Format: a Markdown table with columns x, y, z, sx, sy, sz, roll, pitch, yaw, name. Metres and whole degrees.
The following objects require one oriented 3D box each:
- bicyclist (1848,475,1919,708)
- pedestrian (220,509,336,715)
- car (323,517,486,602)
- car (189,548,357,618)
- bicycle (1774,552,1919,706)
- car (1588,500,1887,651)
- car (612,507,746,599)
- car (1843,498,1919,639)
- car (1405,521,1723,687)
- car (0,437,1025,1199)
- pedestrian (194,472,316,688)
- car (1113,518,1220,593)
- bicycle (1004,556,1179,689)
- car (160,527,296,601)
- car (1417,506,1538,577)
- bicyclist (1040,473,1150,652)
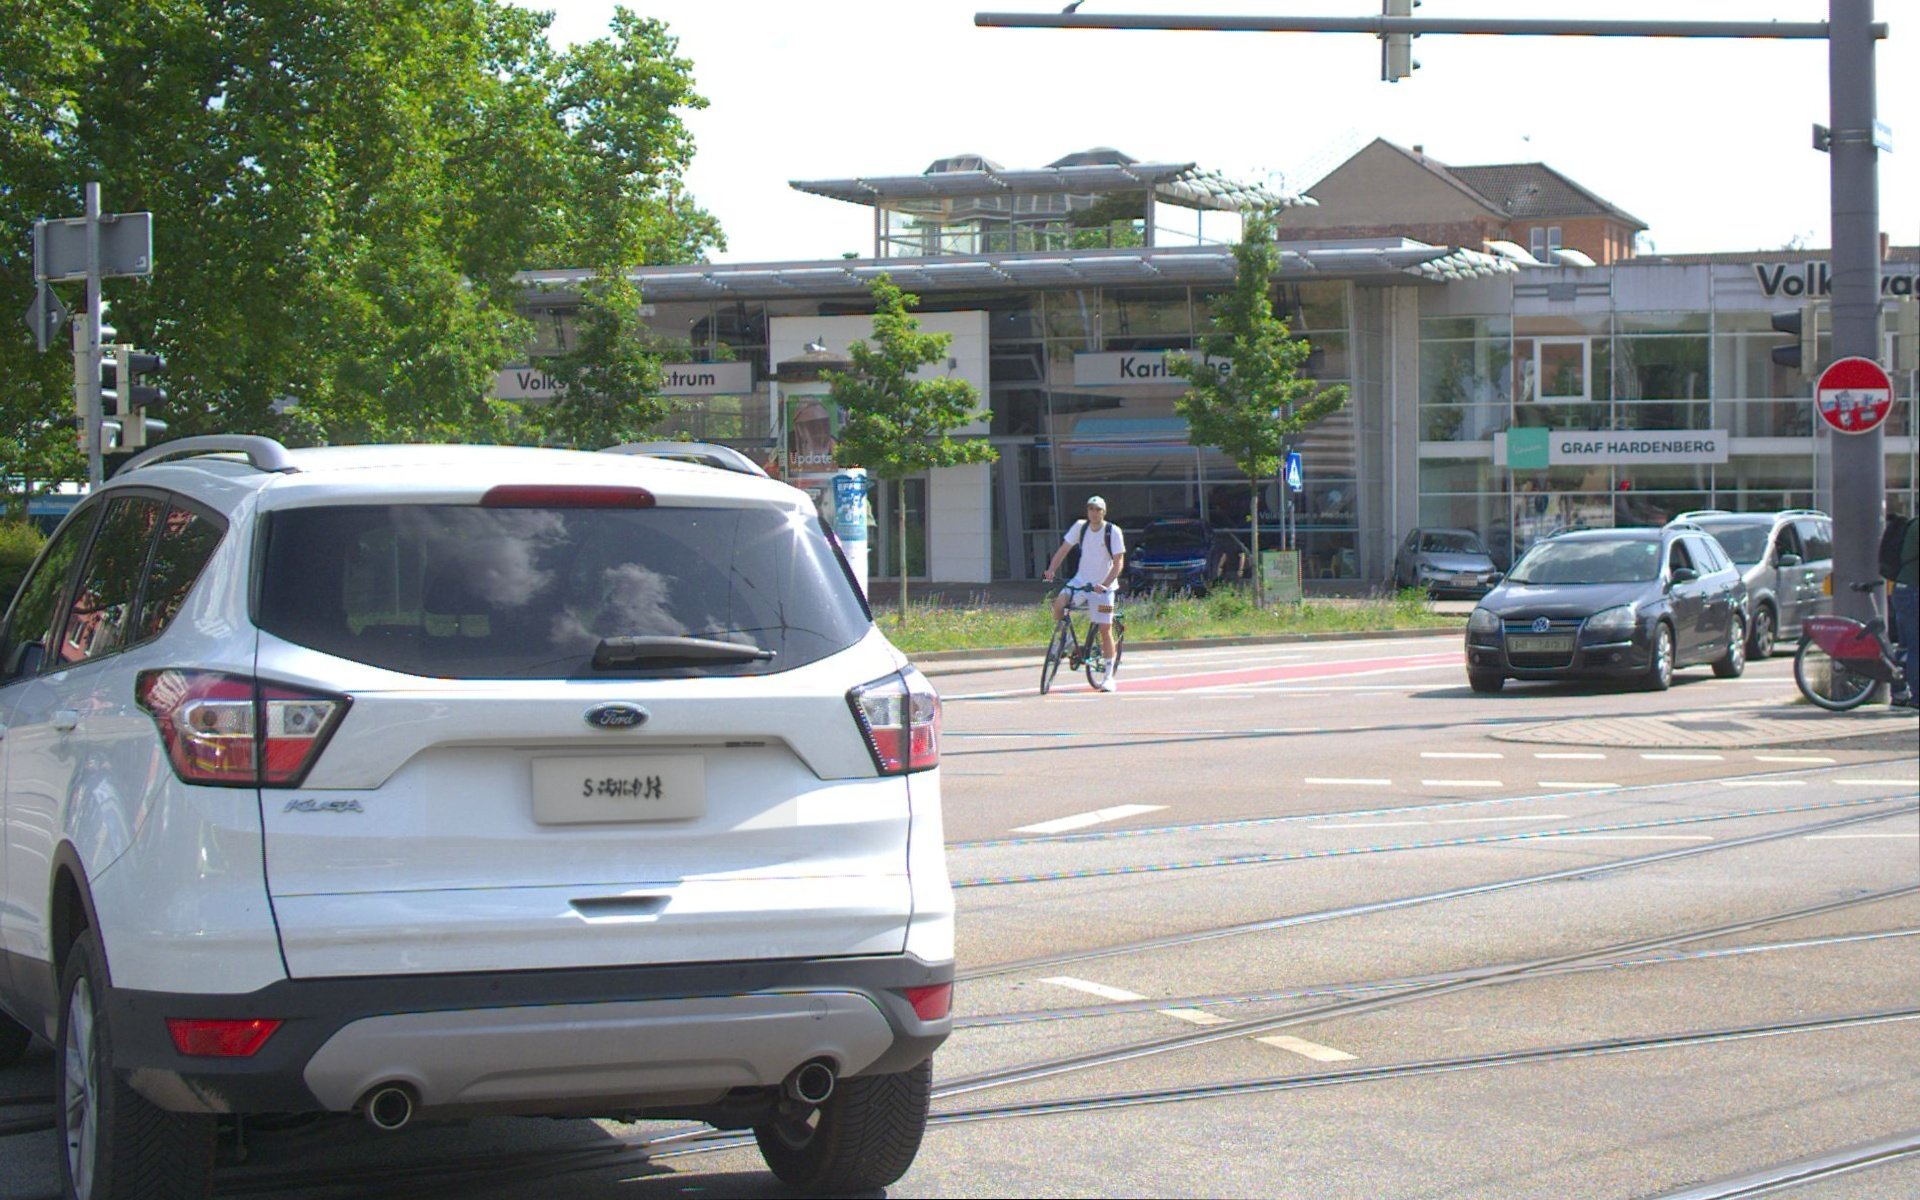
| x | y | z | sx | sy | sz | roll | pitch | yaw | name |
| --- | --- | --- | --- | --- | --- | --- | --- | --- | --- |
| 7.089 | -0.075 | 25.917 | 0.660 | 1.732 | 0.639 | 1 | 2 | 22 | bicyclist |
| -5.857 | 0.100 | 29.563 | 0.923 | 1.737 | 0.589 | 1 | 1 | -9 | pedestrian |
| -13.258 | -0.958 | 82.408 | 1.969 | 1.930 | 5.065 | -2 | 0 | 14 | car |
| -18.216 | -0.451 | 91.166 | 3.991 | 1.784 | 1.840 | -1 | 0 | 23 | car |
| 7.088 | 0.215 | 25.892 | 1.780 | 1.121 | 0.639 | 1 | 2 | 22 | bicycle |
| 8.752 | -0.301 | 38.484 | 1.741 | 1.568 | 3.992 | -1 | 1 | 37 | car |
| -6.456 | -1.076 | 79.431 | 1.994 | 2.007 | 4.229 | -2 | 0 | 10 | car |
| 11.005 | -0.386 | 37.107 | 1.692 | 1.456 | 3.961 | -1 | 1 | 32 | car |
| 5.486 | 0.011 | 30.917 | 1.740 | 1.368 | 3.636 | -1 | 1 | 28 | car |
| -1.476 | 0.492 | 8.328 | 1.827 | 1.658 | 3.956 | -1 | 1 | -22 | car |
| -5.798 | -0.169 | 28.303 | 0.923 | 1.737 | 0.589 | 1 | 1 | -10 | pedestrian |
| 4.513 | -0.950 | 74.775 | 1.819 | 1.528 | 3.915 | -2 | 0 | 10 | car |
| 1.278 | 0.197 | 32.842 | 0.760 | 1.188 | 2.147 | -1 | 1 | 29 | bicycle |
| -18.466 | -0.888 | 86.626 | 1.836 | 1.784 | 3.999 | 0 | 0 | -36 | car |
| 11.874 | -1.322 | 78.678 | 1.820 | 1.528 | 3.912 | -2 | 0 | 22 | car |
| 1.290 | -0.360 | 32.871 | 0.760 | 1.677 | 0.759 | -1 | 1 | 29 | bicyclist |
